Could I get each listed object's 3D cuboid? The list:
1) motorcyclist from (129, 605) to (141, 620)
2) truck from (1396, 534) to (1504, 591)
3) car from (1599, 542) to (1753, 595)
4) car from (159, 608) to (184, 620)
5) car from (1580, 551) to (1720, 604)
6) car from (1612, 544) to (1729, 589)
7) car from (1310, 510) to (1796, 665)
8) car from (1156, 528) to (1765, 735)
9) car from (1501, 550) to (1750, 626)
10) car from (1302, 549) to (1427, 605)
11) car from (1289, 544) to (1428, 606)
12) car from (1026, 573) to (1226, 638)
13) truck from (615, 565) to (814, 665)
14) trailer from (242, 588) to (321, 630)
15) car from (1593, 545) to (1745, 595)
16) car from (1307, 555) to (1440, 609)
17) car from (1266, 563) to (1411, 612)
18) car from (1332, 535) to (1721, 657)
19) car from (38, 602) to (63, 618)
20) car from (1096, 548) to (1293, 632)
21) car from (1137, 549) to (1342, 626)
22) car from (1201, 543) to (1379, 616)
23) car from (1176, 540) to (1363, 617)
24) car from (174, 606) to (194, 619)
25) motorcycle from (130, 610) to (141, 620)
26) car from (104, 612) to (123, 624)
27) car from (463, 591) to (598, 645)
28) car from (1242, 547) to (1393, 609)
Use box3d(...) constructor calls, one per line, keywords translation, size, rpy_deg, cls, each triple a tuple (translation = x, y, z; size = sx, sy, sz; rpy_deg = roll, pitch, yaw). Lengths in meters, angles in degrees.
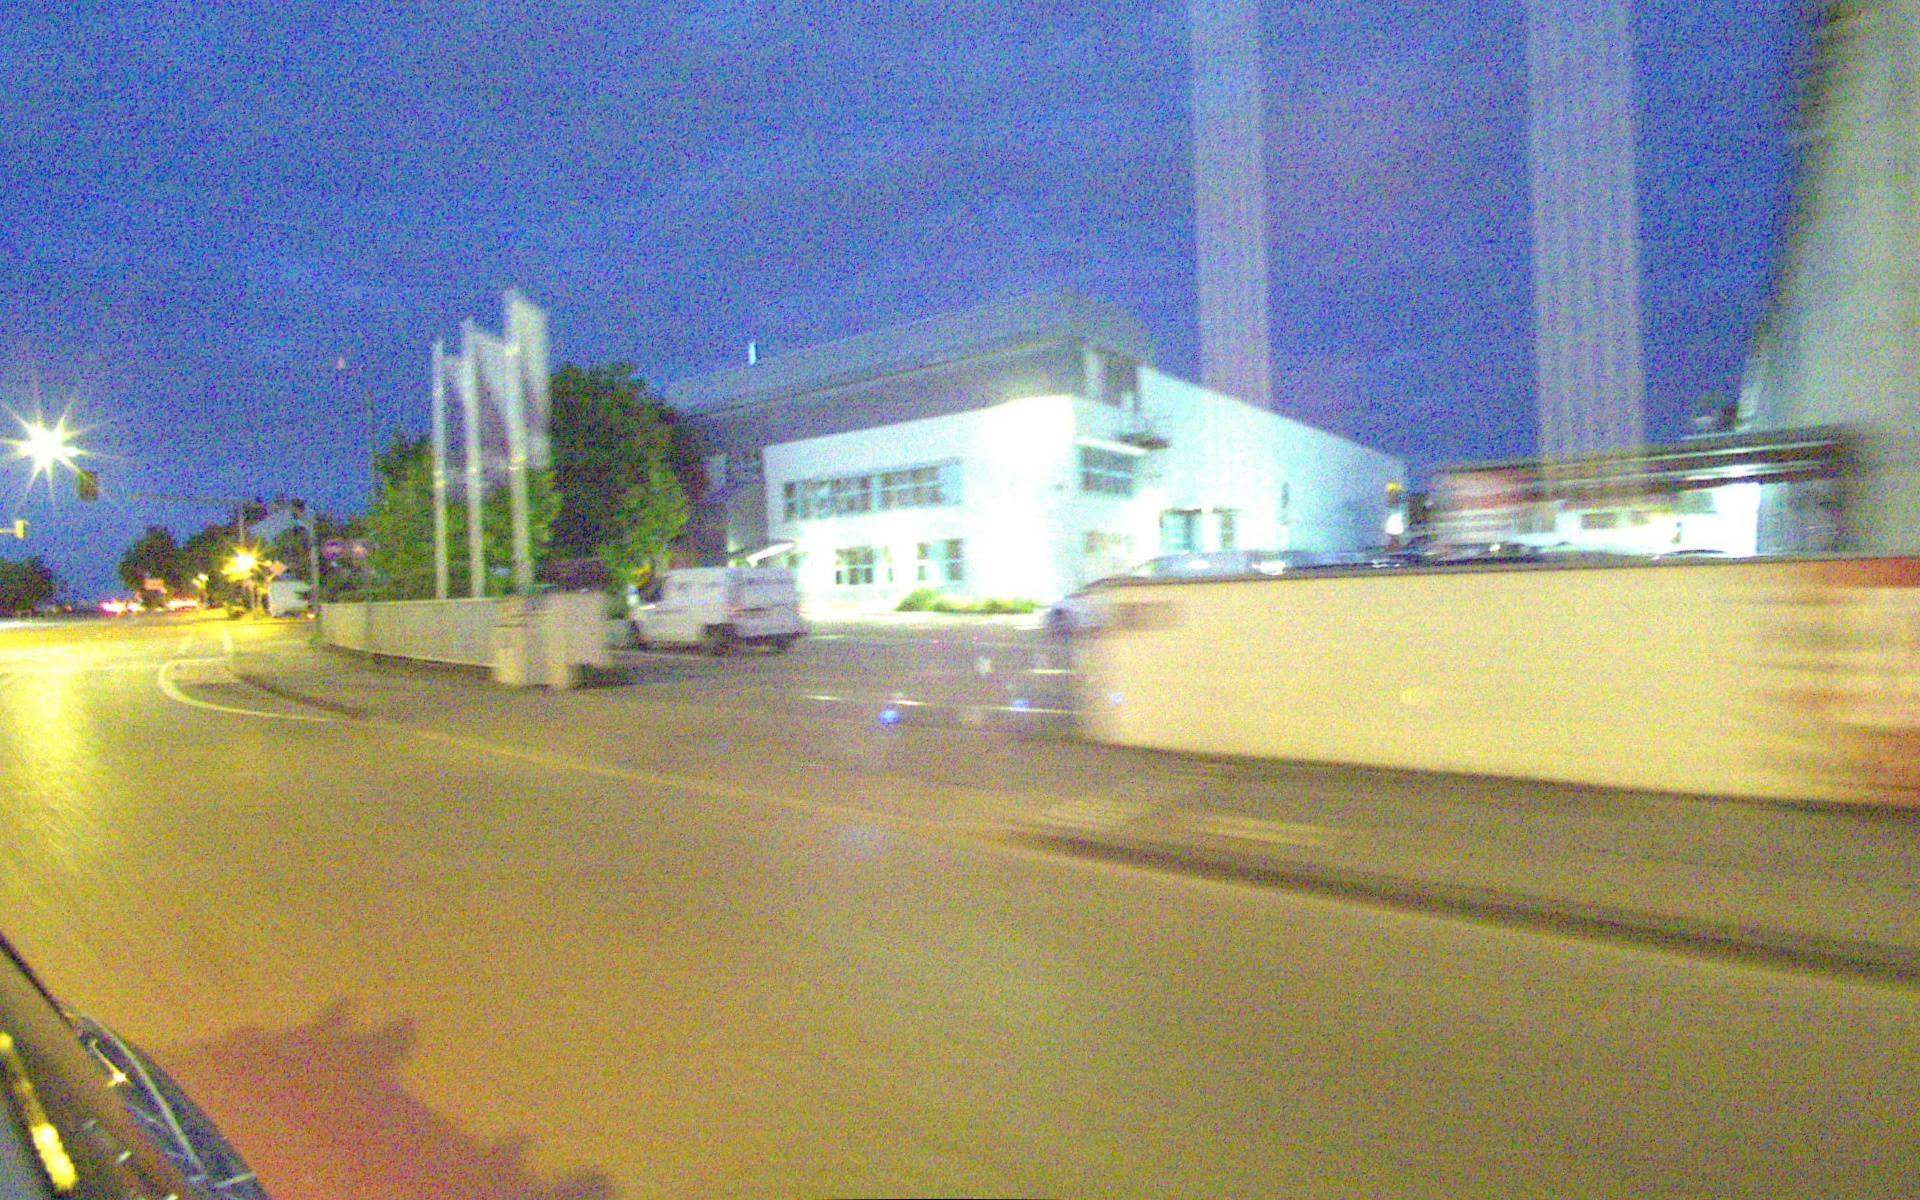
box3d(translation=(-111.079, 1.642, 136.281), size=(1.120, 1.914, 0.834), rpy_deg=(-2, 1, -43), cls="motorcyclist")
box3d(translation=(24.207, -1.816, 50.055), size=(4.516, 2.558, 1.975), rpy_deg=(-1, 1, 37), cls="truck")
box3d(translation=(25.938, -1.100, 36.879), size=(4.410, 1.697, 1.955), rpy_deg=(-1, -1, 32), cls="car")
box3d(translation=(-102.561, 1.835, 131.644), size=(4.599, 1.390, 1.971), rpy_deg=(-1, 1, 44), cls="car")
box3d(translation=(21.812, -0.705, 32.173), size=(3.547, 1.505, 1.605), rpy_deg=(-2, 0, 32), cls="car")
box3d(translation=(30.709, -1.403, 43.873), size=(3.986, 1.730, 1.955), rpy_deg=(-1, -1, 32), cls="car")
box3d(translation=(6.612, -0.068, 11.780), size=(4.510, 1.505, 1.815), rpy_deg=(-2, 0, 31), cls="car")
box3d(translation=(4.263, 0.282, 9.238), size=(4.507, 1.505, 1.816), rpy_deg=(-2, 0, 28), cls="car")
box3d(translation=(14.901, -0.238, 22.972), size=(4.510, 1.505, 1.815), rpy_deg=(-2, 0, 31), cls="car")
box3d(translation=(17.702, -0.957, 44.426), size=(4.782, 2.262, 1.864), rpy_deg=(-1, -1, 36), cls="car")
box3d(translation=(15.705, -0.930, 39.975), size=(4.782, 2.262, 1.864), rpy_deg=(-1, -1, 36), cls="car")
box3d(translation=(4.072, 0.155, 25.304), size=(4.610, 1.475, 1.824), rpy_deg=(-1, 1, 38), cls="car")
box3d(translation=(-5.556, 0.305, 22.368), size=(1.969, 1.914, 5.324), rpy_deg=(-3, 1, -42), cls="truck")
box3d(translation=(-45.518, 0.568, 67.942), size=(4.292, 2.741, 2.004), rpy_deg=(0, -1, -38), cls="trailer")
box3d(translation=(24.256, -1.007, 34.845), size=(4.135, 1.464, 1.821), rpy_deg=(-2, 0, 32), cls="car")
box3d(translation=(17.100, -0.699, 41.968), size=(4.782, 2.068, 1.864), rpy_deg=(-1, -1, 36), cls="car")
box3d(translation=(14.223, -0.436, 38.144), size=(4.781, 1.679, 1.864), rpy_deg=(-1, -1, 36), cls="car")
box3d(translation=(8.479, -0.033, 15.438), size=(4.947, 1.592, 1.811), rpy_deg=(-2, 1, 37), cls="car")
box3d(translation=(-96.403, 1.027, 107.288), size=(1.911, 1.563, 4.005), rpy_deg=(-3, 1, -42), cls="car")
box3d(translation=(6.191, -0.233, 26.933), size=(4.676, 2.029, 1.977), rpy_deg=(-1, 1, 35), cls="car")
box3d(translation=(8.044, -0.335, 29.626), size=(2.223, 2.019, 5.417), rpy_deg=(-3, 1, -41), cls="car")
box3d(translation=(11.216, -0.669, 34.550), size=(5.396, 2.252, 2.003), rpy_deg=(-1, 1, 35), cls="car")
box3d(translation=(9.958, -0.654, 32.793), size=(5.396, 2.252, 2.003), rpy_deg=(-1, 1, 35), cls="car")
box3d(translation=(-97.926, 1.582, 127.688), size=(1.826, 1.456, 4.924), rpy_deg=(-2, 1, -40), cls="car")
box3d(translation=(-110.987, 2.045, 136.256), size=(0.985, 1.314, 2.829), rpy_deg=(-2, 1, -43), cls="motorcycle")
box3d(translation=(-126.590, 2.659, 151.410), size=(1.968, 1.639, 4.762), rpy_deg=(-2, 1, -37), cls="car")
box3d(translation=(-15.789, 0.609, 37.333), size=(2.001, 1.785, 4.080), rpy_deg=(-1, 1, 44), cls="car")
box3d(translation=(12.783, -0.727, 36.360), size=(4.782, 2.029, 1.864), rpy_deg=(-1, -1, 36), cls="car")
